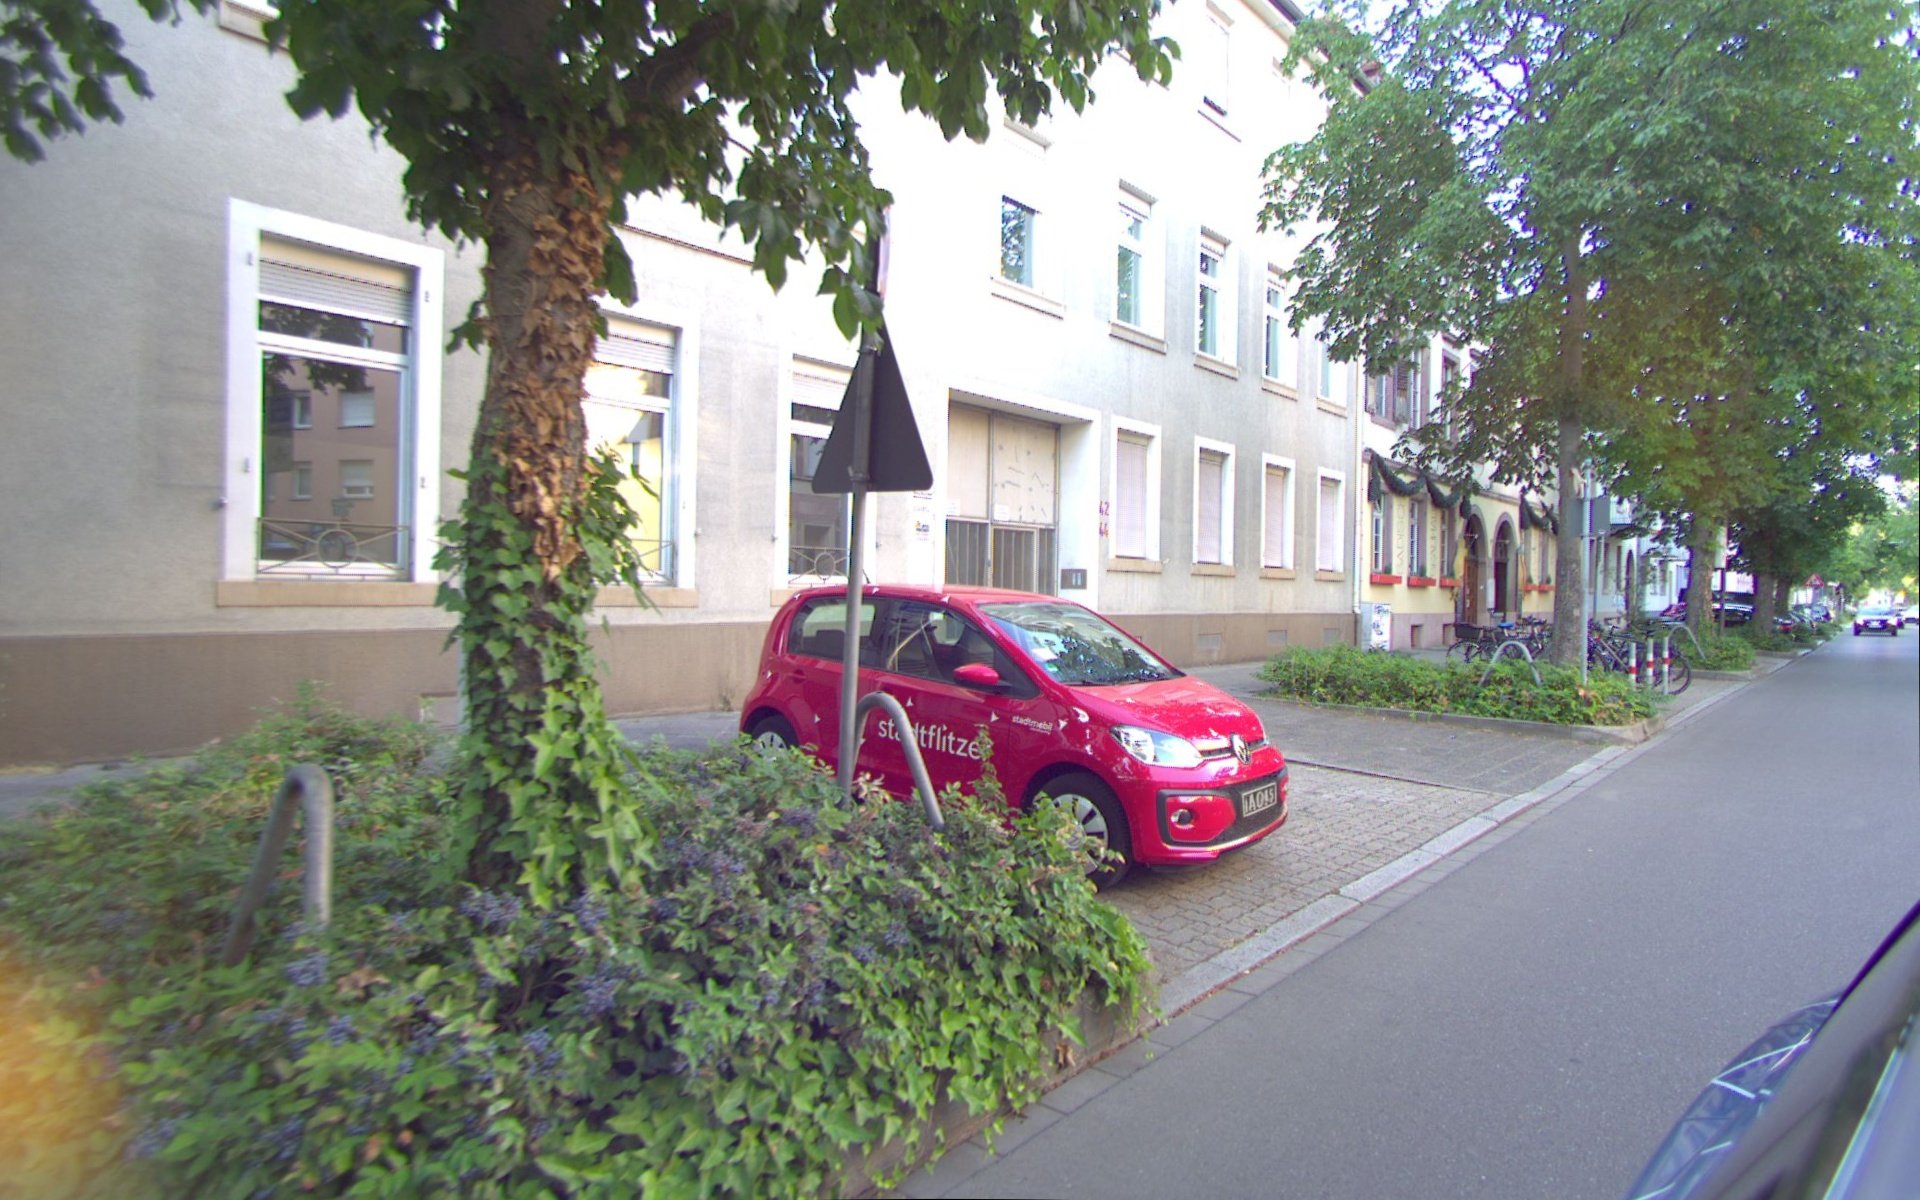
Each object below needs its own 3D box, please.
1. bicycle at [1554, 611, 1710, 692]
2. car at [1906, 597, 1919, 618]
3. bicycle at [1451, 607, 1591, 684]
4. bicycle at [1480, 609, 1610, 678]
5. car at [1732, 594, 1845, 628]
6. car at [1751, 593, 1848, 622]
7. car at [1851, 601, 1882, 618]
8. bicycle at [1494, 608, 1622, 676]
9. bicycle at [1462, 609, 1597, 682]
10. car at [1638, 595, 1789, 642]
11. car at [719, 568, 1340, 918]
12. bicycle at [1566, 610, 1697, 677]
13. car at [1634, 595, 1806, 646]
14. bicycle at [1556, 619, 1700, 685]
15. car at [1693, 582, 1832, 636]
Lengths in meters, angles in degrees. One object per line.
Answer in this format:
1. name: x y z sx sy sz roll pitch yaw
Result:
1. bicycle: 10.838 0.800 16.385 2.036 1.160 0.439 2 1 45
2. car: 86.902 0.720 90.004 3.917 1.785 2.004 1 1 -10
3. bicycle: 9.456 0.737 17.138 0.439 1.160 2.038 1 1 -43
4. bicycle: 10.816 0.781 18.769 2.035 1.160 0.415 2 1 43
5. car: 43.143 0.562 52.778 1.748 1.633 4.434 1 1 -45
6. car: 51.179 0.452 61.746 1.748 1.633 4.434 1 1 -45
7. car: 76.225 0.805 85.072 1.822 1.389 3.938 2 1 43
8. bicycle: 11.332 0.769 19.227 2.035 1.160 0.415 2 1 43
9. bicycle: 10.010 0.770 17.853 2.035 1.160 0.415 2 1 43
10. car: 28.786 0.669 38.772 1.748 1.633 4.434 1 1 -45
11. car: 0.228 0.589 6.257 3.654 1.494 1.542 3 2 42
12. bicycle: 12.792 0.798 19.326 2.035 1.160 0.415 2 1 43
13. car: 25.508 0.628 34.071 1.748 1.524 4.434 1 1 -45
14. bicycle: 11.494 0.869 17.477 2.035 1.016 0.415 2 1 43
15. car: 34.101 0.348 43.086 1.748 2.150 4.434 1 1 -45
